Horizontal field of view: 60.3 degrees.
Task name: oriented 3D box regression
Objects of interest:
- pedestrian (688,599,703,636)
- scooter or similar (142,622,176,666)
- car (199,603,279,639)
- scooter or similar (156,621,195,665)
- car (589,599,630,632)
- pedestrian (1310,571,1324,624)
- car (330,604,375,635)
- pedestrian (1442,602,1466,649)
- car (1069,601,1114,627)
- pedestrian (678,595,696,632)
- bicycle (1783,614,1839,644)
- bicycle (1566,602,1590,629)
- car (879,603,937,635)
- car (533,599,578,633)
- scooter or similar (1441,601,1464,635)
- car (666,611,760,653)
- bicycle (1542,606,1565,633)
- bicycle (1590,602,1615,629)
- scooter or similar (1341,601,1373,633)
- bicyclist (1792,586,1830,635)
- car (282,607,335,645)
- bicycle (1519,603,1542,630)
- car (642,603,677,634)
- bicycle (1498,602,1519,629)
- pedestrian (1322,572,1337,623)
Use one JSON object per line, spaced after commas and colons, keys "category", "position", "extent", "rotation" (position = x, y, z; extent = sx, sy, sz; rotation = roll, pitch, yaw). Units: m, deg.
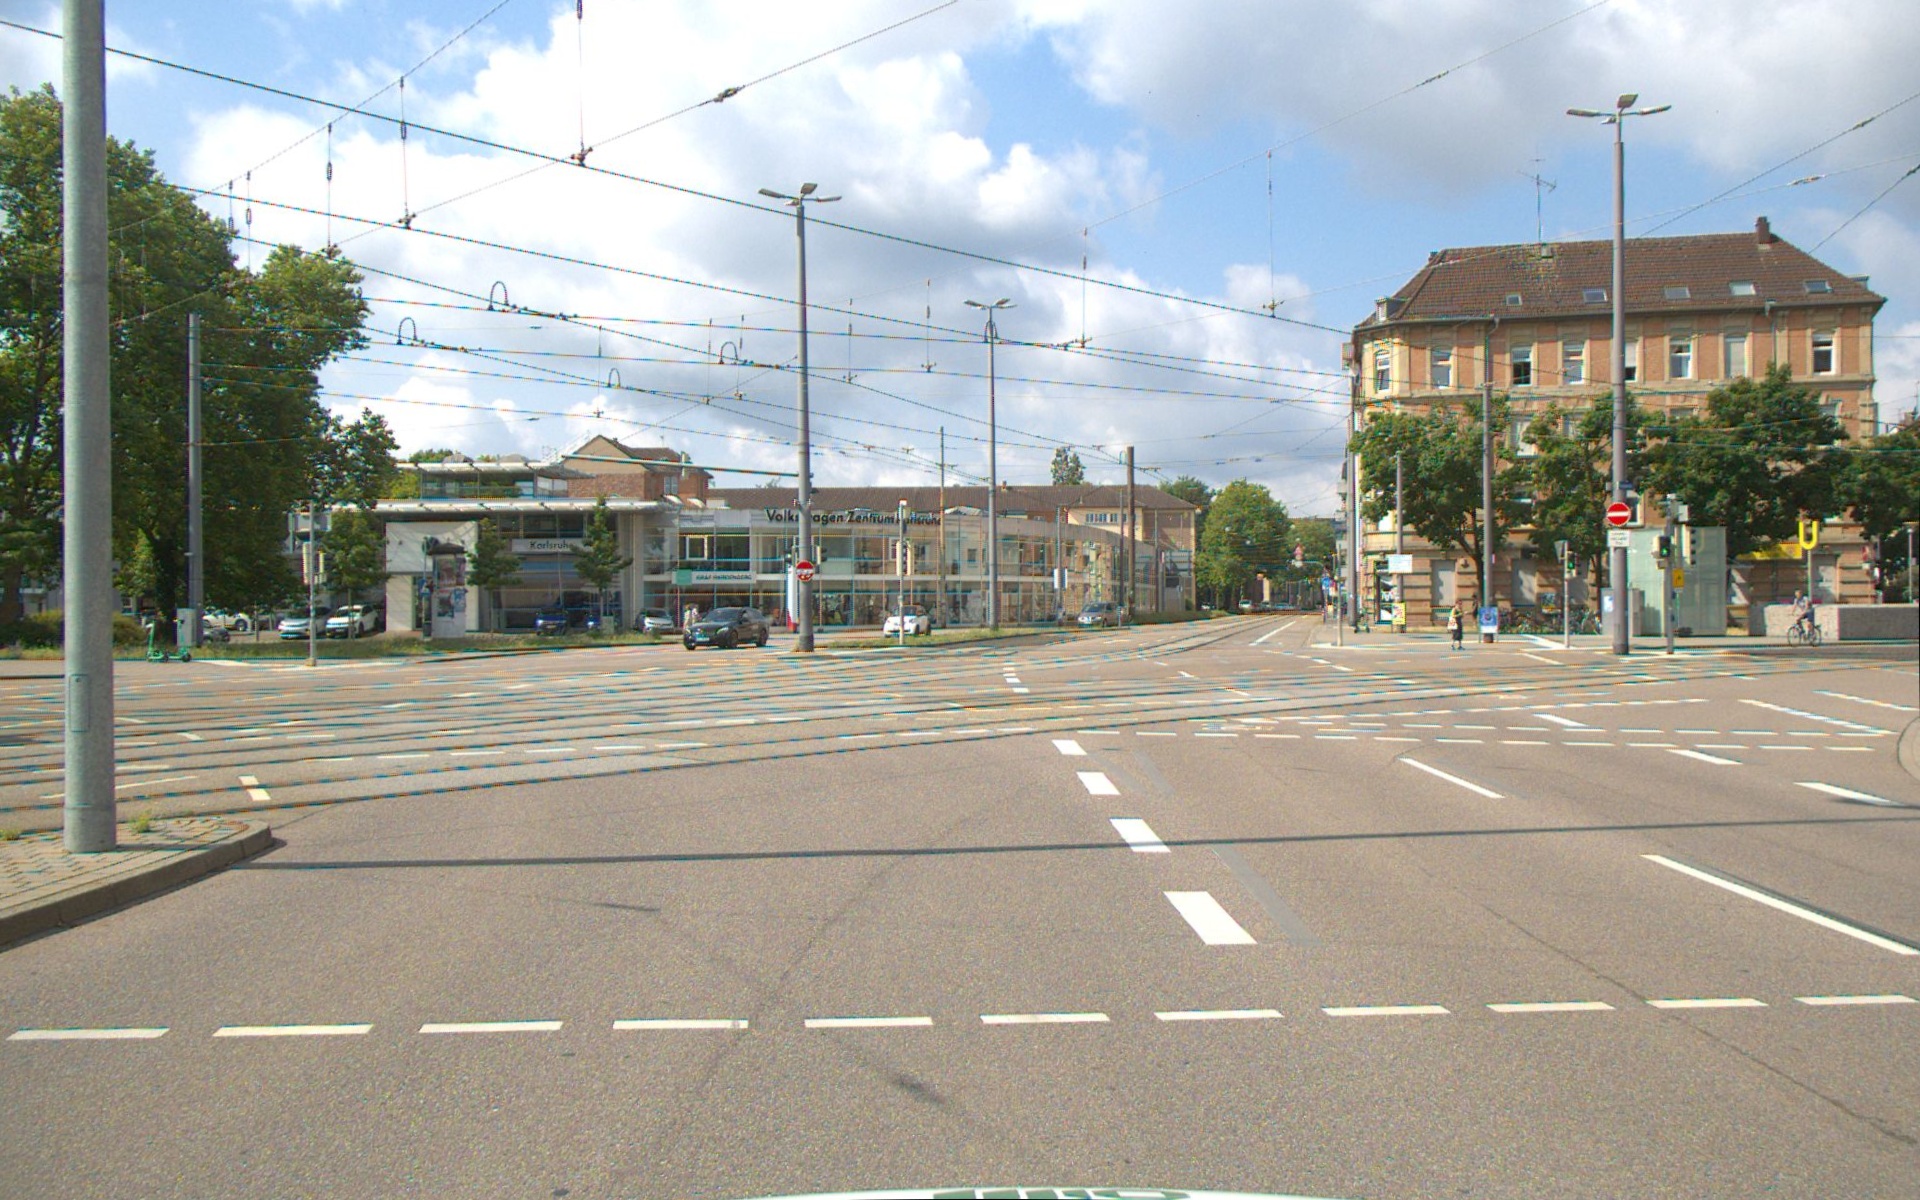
{"category": "pedestrian", "position": [-14.878, 0.983, 92.989], "extent": [0.853, 2.049, 0.702], "rotation": [0, -1, -11]}
{"category": "scooter or similar", "position": [-22.510, 1.230, 46.478], "extent": [1.043, 1.217, 0.380], "rotation": [0, -2, 35]}
{"category": "car", "position": [-43.688, 1.275, 100.328], "extent": [3.904, 2.049, 2.000], "rotation": [1, -1, 3]}
{"category": "scooter or similar", "position": [-22.324, 1.215, 47.082], "extent": [1.040, 1.217, 0.381], "rotation": [1, -2, 25]}
{"category": "car", "position": [-19.893, 0.895, 93.967], "extent": [1.956, 1.756, 3.992], "rotation": [1, -1, -8]}
{"category": "pedestrian", "position": [21.837, -0.157, 101.165], "extent": [0.652, 3.175, 0.887], "rotation": [1, -2, 22]}
{"category": "car", "position": [-34.709, 1.108, 94.614], "extent": [1.753, 1.712, 3.990], "rotation": [0, 0, -11]}
{"category": "pedestrian", "position": [16.438, 0.838, 55.046], "extent": [0.725, 1.542, 0.545], "rotation": [-1, -1, 21]}
{"category": "car", "position": [8.153, 0.856, 102.498], "extent": [1.952, 1.601, 3.738], "rotation": [-1, 0, 18]}
{"category": "pedestrian", "position": [-14.911, 0.737, 90.330], "extent": [0.791, 2.049, 0.808], "rotation": [0, -1, 0]}
{"category": "bicycle", "position": [29.891, 1.022, 58.104], "extent": [1.750, 0.973, 0.840], "rotation": [-1, -2, -24]}
{"category": "bicycle", "position": [27.715, 0.685, 74.194], "extent": [0.742, 1.186, 2.687], "rotation": [-1, 0, 15]}
{"category": "car", "position": [-2.504, 0.935, 80.447], "extent": [1.650, 1.496, 3.657], "rotation": [1, -1, 18]}
{"category": "car", "position": [-23.004, 0.941, 94.149], "extent": [1.955, 1.870, 3.994], "rotation": [-1, -1, -7]}
{"category": "scooter or similar", "position": [22.365, 0.817, 75.099], "extent": [0.859, 1.508, 2.016], "rotation": [0, -1, 13]}
{"category": "car", "position": [-8.757, 1.120, 58.888], "extent": [1.825, 1.400, 3.943], "rotation": [0, 0, 16]}
{"category": "bicycle", "position": [26.715, 0.890, 74.482], "extent": [0.742, 1.186, 2.686], "rotation": [1, -1, 15]}
{"category": "bicycle", "position": [28.837, 0.679, 74.233], "extent": [0.742, 1.186, 2.687], "rotation": [-1, 0, 15]}
{"category": "scooter or similar", "position": [18.453, 0.792, 76.945], "extent": [1.151, 1.410, 2.806], "rotation": [1, -1, 7]}
{"category": "bicyclist", "position": [29.890, 0.359, 58.100], "extent": [1.129, 1.704, 0.611], "rotation": [0, -1, -23]}
{"category": "car", "position": [-37.013, 1.498, 94.061], "extent": [1.958, 2.049, 3.989], "rotation": [2, -1, -11]}
{"category": "bicycle", "position": [25.816, 0.725, 74.839], "extent": [0.742, 1.186, 2.687], "rotation": [1, 0, 15]}
{"category": "car", "position": [-17.445, 1.063, 95.920], "extent": [1.894, 1.713, 3.989], "rotation": [1, -1, -11]}
{"category": "bicycle", "position": [24.914, 0.708, 75.181], "extent": [0.742, 1.186, 2.687], "rotation": [-1, 0, 15]}
{"category": "pedestrian", "position": [22.536, -0.148, 100.834], "extent": [0.710, 3.130, 0.887], "rotation": [1, -2, 22]}
